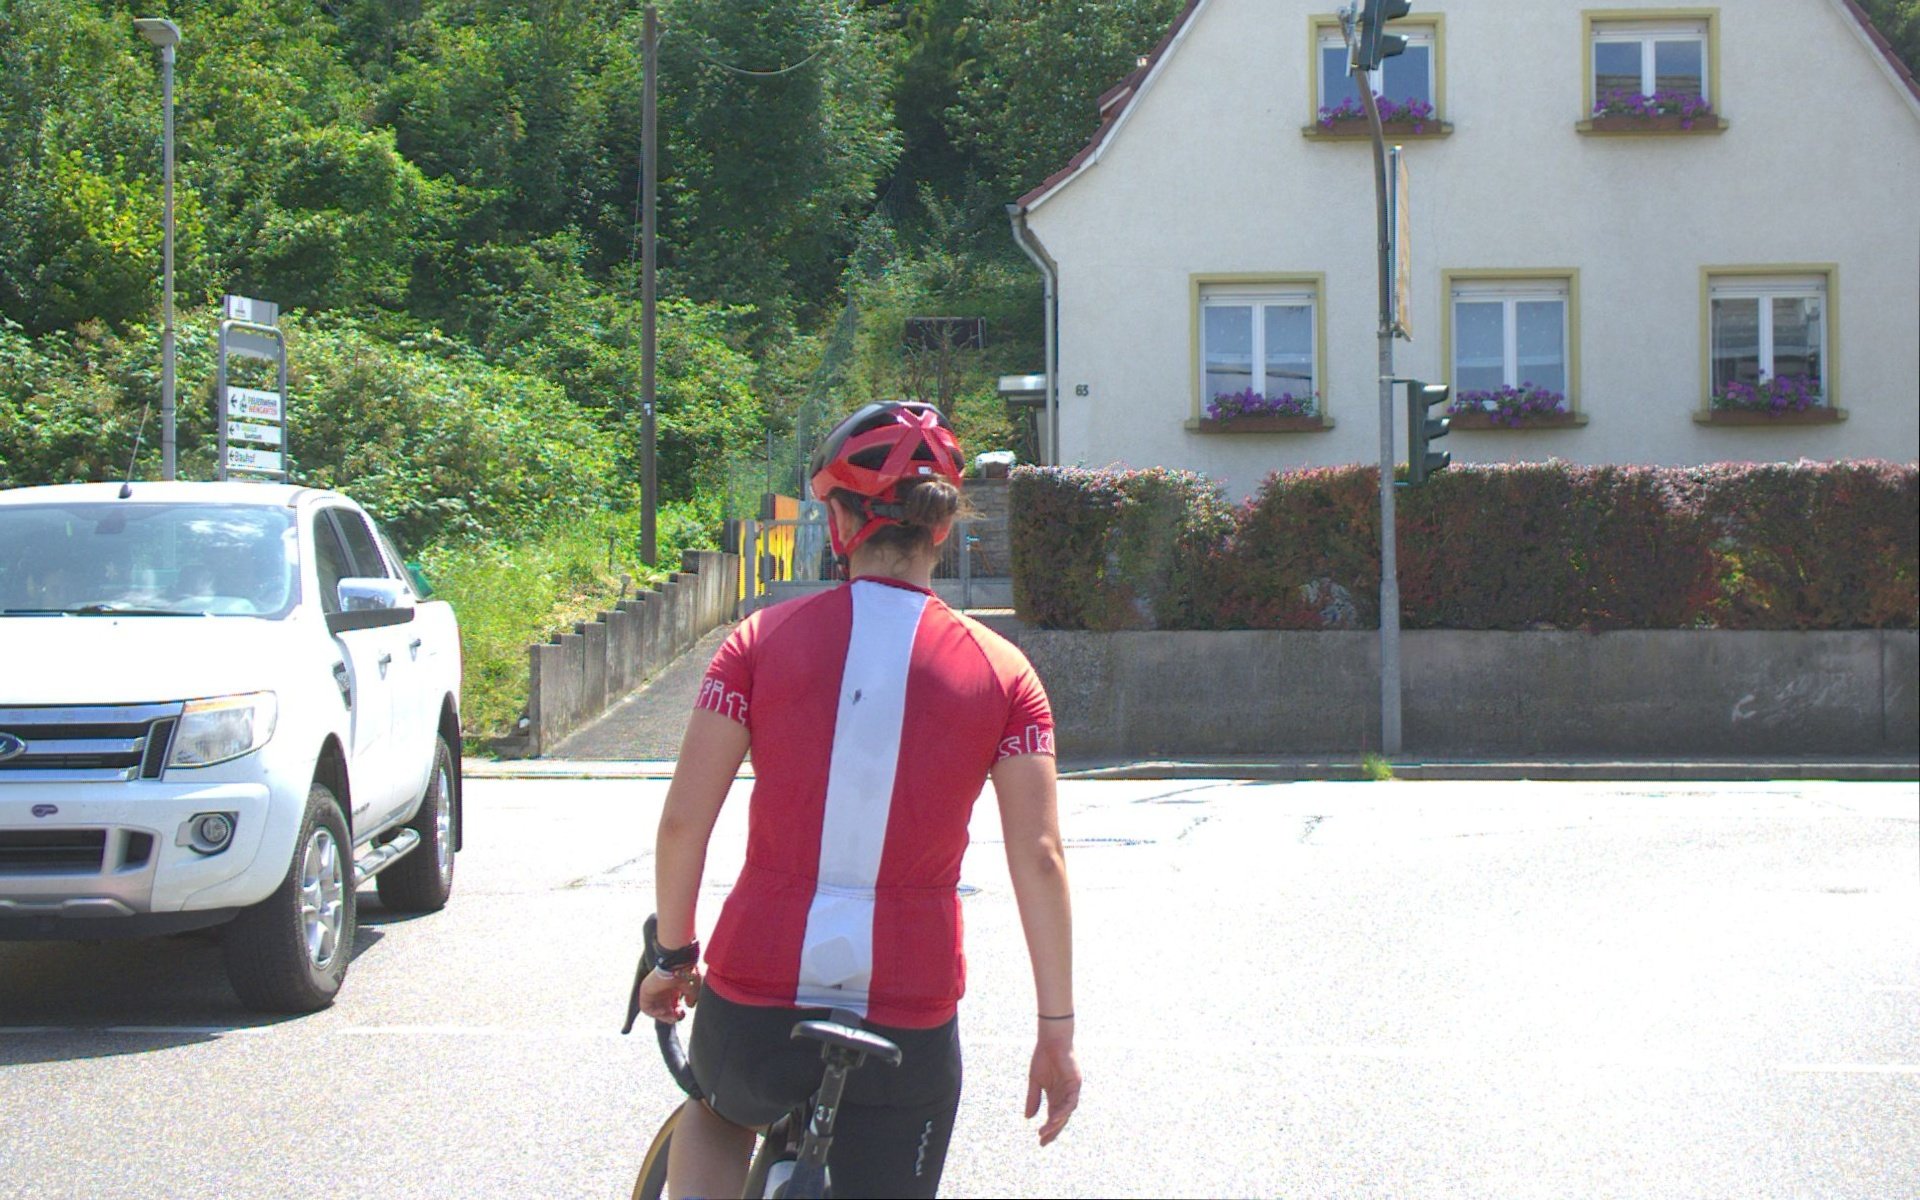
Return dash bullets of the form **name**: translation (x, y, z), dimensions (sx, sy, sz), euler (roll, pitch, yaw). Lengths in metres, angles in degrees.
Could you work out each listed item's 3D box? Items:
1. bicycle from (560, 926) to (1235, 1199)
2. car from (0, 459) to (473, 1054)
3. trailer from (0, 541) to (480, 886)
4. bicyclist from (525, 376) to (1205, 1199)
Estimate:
- **bicycle**: translation (-0.161, 0.969, 4.514), dimensions (0.629, 0.902, 1.657), euler (1, 1, -10)
- **car**: translation (-3.063, 0.449, 13.010), dimensions (1.972, 1.769, 5.315), euler (-1, 1, -4)
- **trailer**: translation (-4.088, 0.501, 18.065), dimensions (1.972, 1.534, 4.446), euler (-2, 1, -23)
- **bicyclist**: translation (-0.167, 0.565, 4.556), dimensions (0.760, 1.659, 0.869), euler (1, 1, -10)
